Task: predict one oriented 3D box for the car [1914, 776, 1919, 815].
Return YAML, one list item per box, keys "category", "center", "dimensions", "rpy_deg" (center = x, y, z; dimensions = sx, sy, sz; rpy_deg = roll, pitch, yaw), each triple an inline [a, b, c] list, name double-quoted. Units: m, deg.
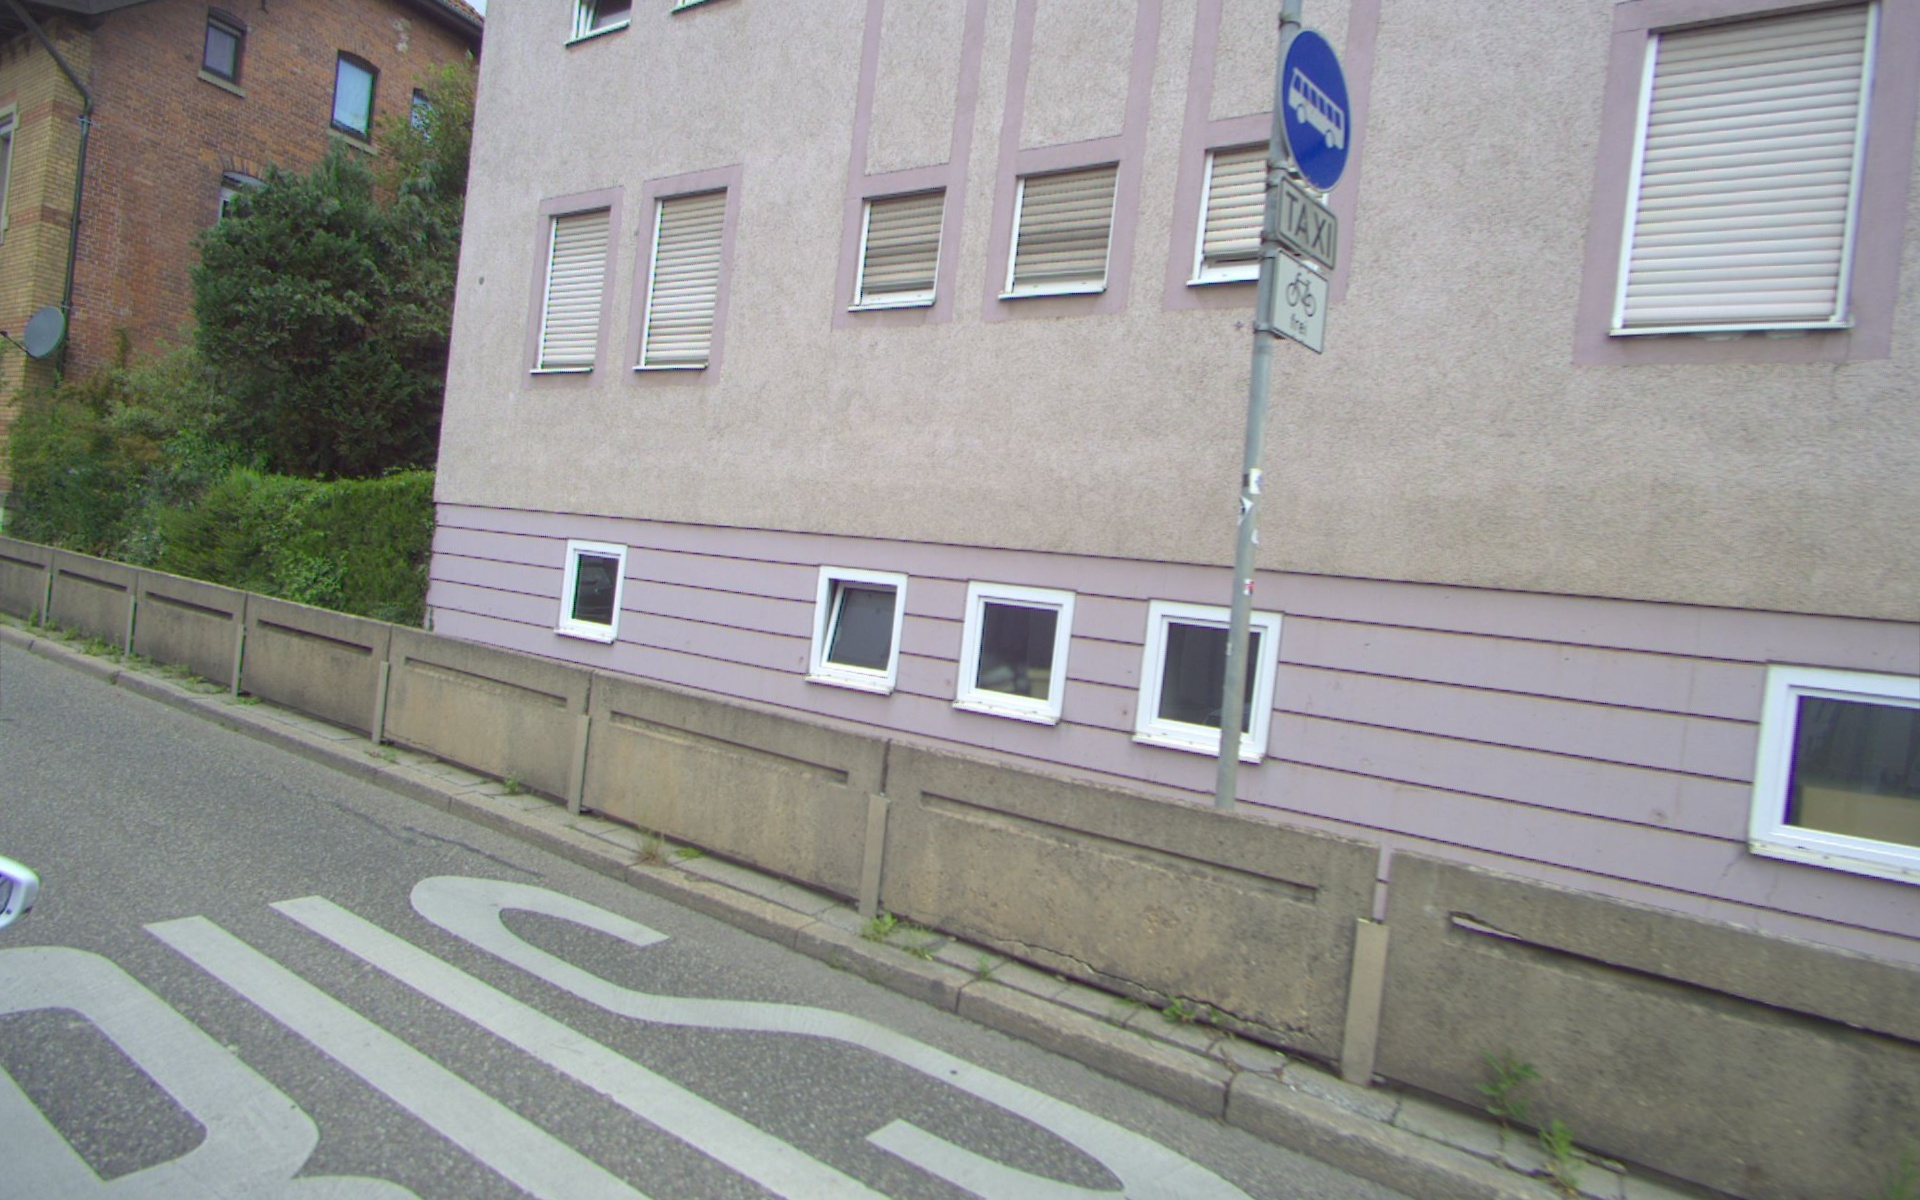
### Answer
- category: "car"
  center: [37.065, 7.504, 37.048]
  dimensions: [1.847, 1.458, 3.994]
  rpy_deg: [7, -2, 32]
